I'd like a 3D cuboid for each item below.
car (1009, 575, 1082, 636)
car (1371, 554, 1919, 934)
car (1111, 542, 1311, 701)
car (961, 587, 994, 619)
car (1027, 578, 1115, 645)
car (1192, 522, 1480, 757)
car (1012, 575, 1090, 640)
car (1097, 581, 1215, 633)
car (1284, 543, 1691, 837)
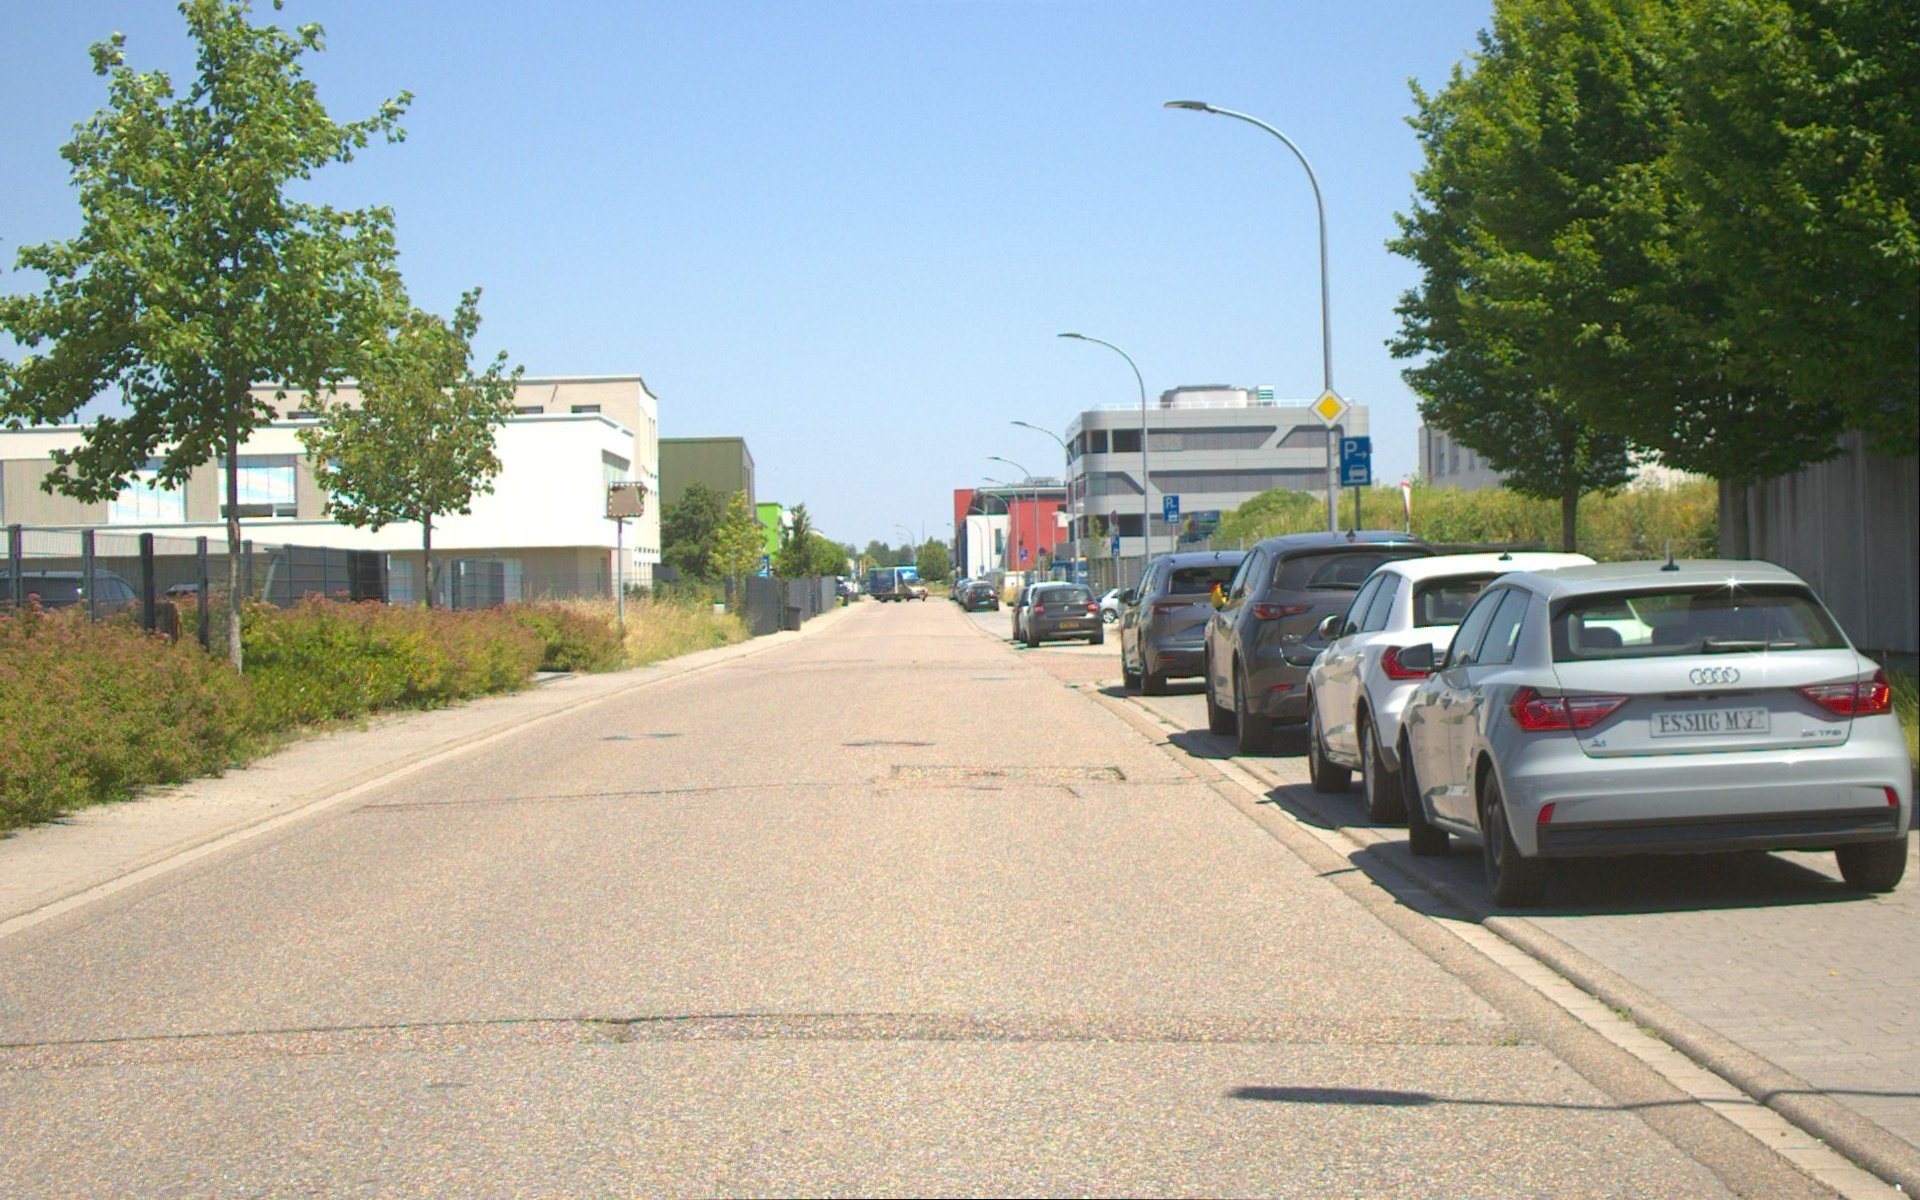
[{"bbox_3d":[2.398,0.134,95.152,1.908,1.541,4.000,-3,0,2],"label":"car"},{"bbox_3d":[3.007,0.550,15.664,1.716,1.418,3.951,-3,1,0],"label":"car"},{"bbox_3d":[2.883,0.211,40.400,1.803,1.656,4.608,-3,1,-1],"label":"car"},{"bbox_3d":[0.965,0.164,190.489,1.776,1.722,4.000,1,0,0],"label":"car"},{"bbox_3d":[2.587,0.249,79.857,1.908,1.443,4.000,-3,0,2],"label":"car"},{"bbox_3d":[2.920,0.267,27.534,1.757,1.657,4.363,-3,1,0],"label":"car"},{"bbox_3d":[2.362,0.176,88.774,1.908,1.541,4.000,-3,0,2],"label":"car"},{"bbox_3d":[7.824,0.262,137.362,4.625,2.007,2.606,1,0,3],"label":"car"},{"bbox_3d":[3.015,0.457,20.436,1.716,1.476,4.031,-3,1,0],"label":"car"}]
